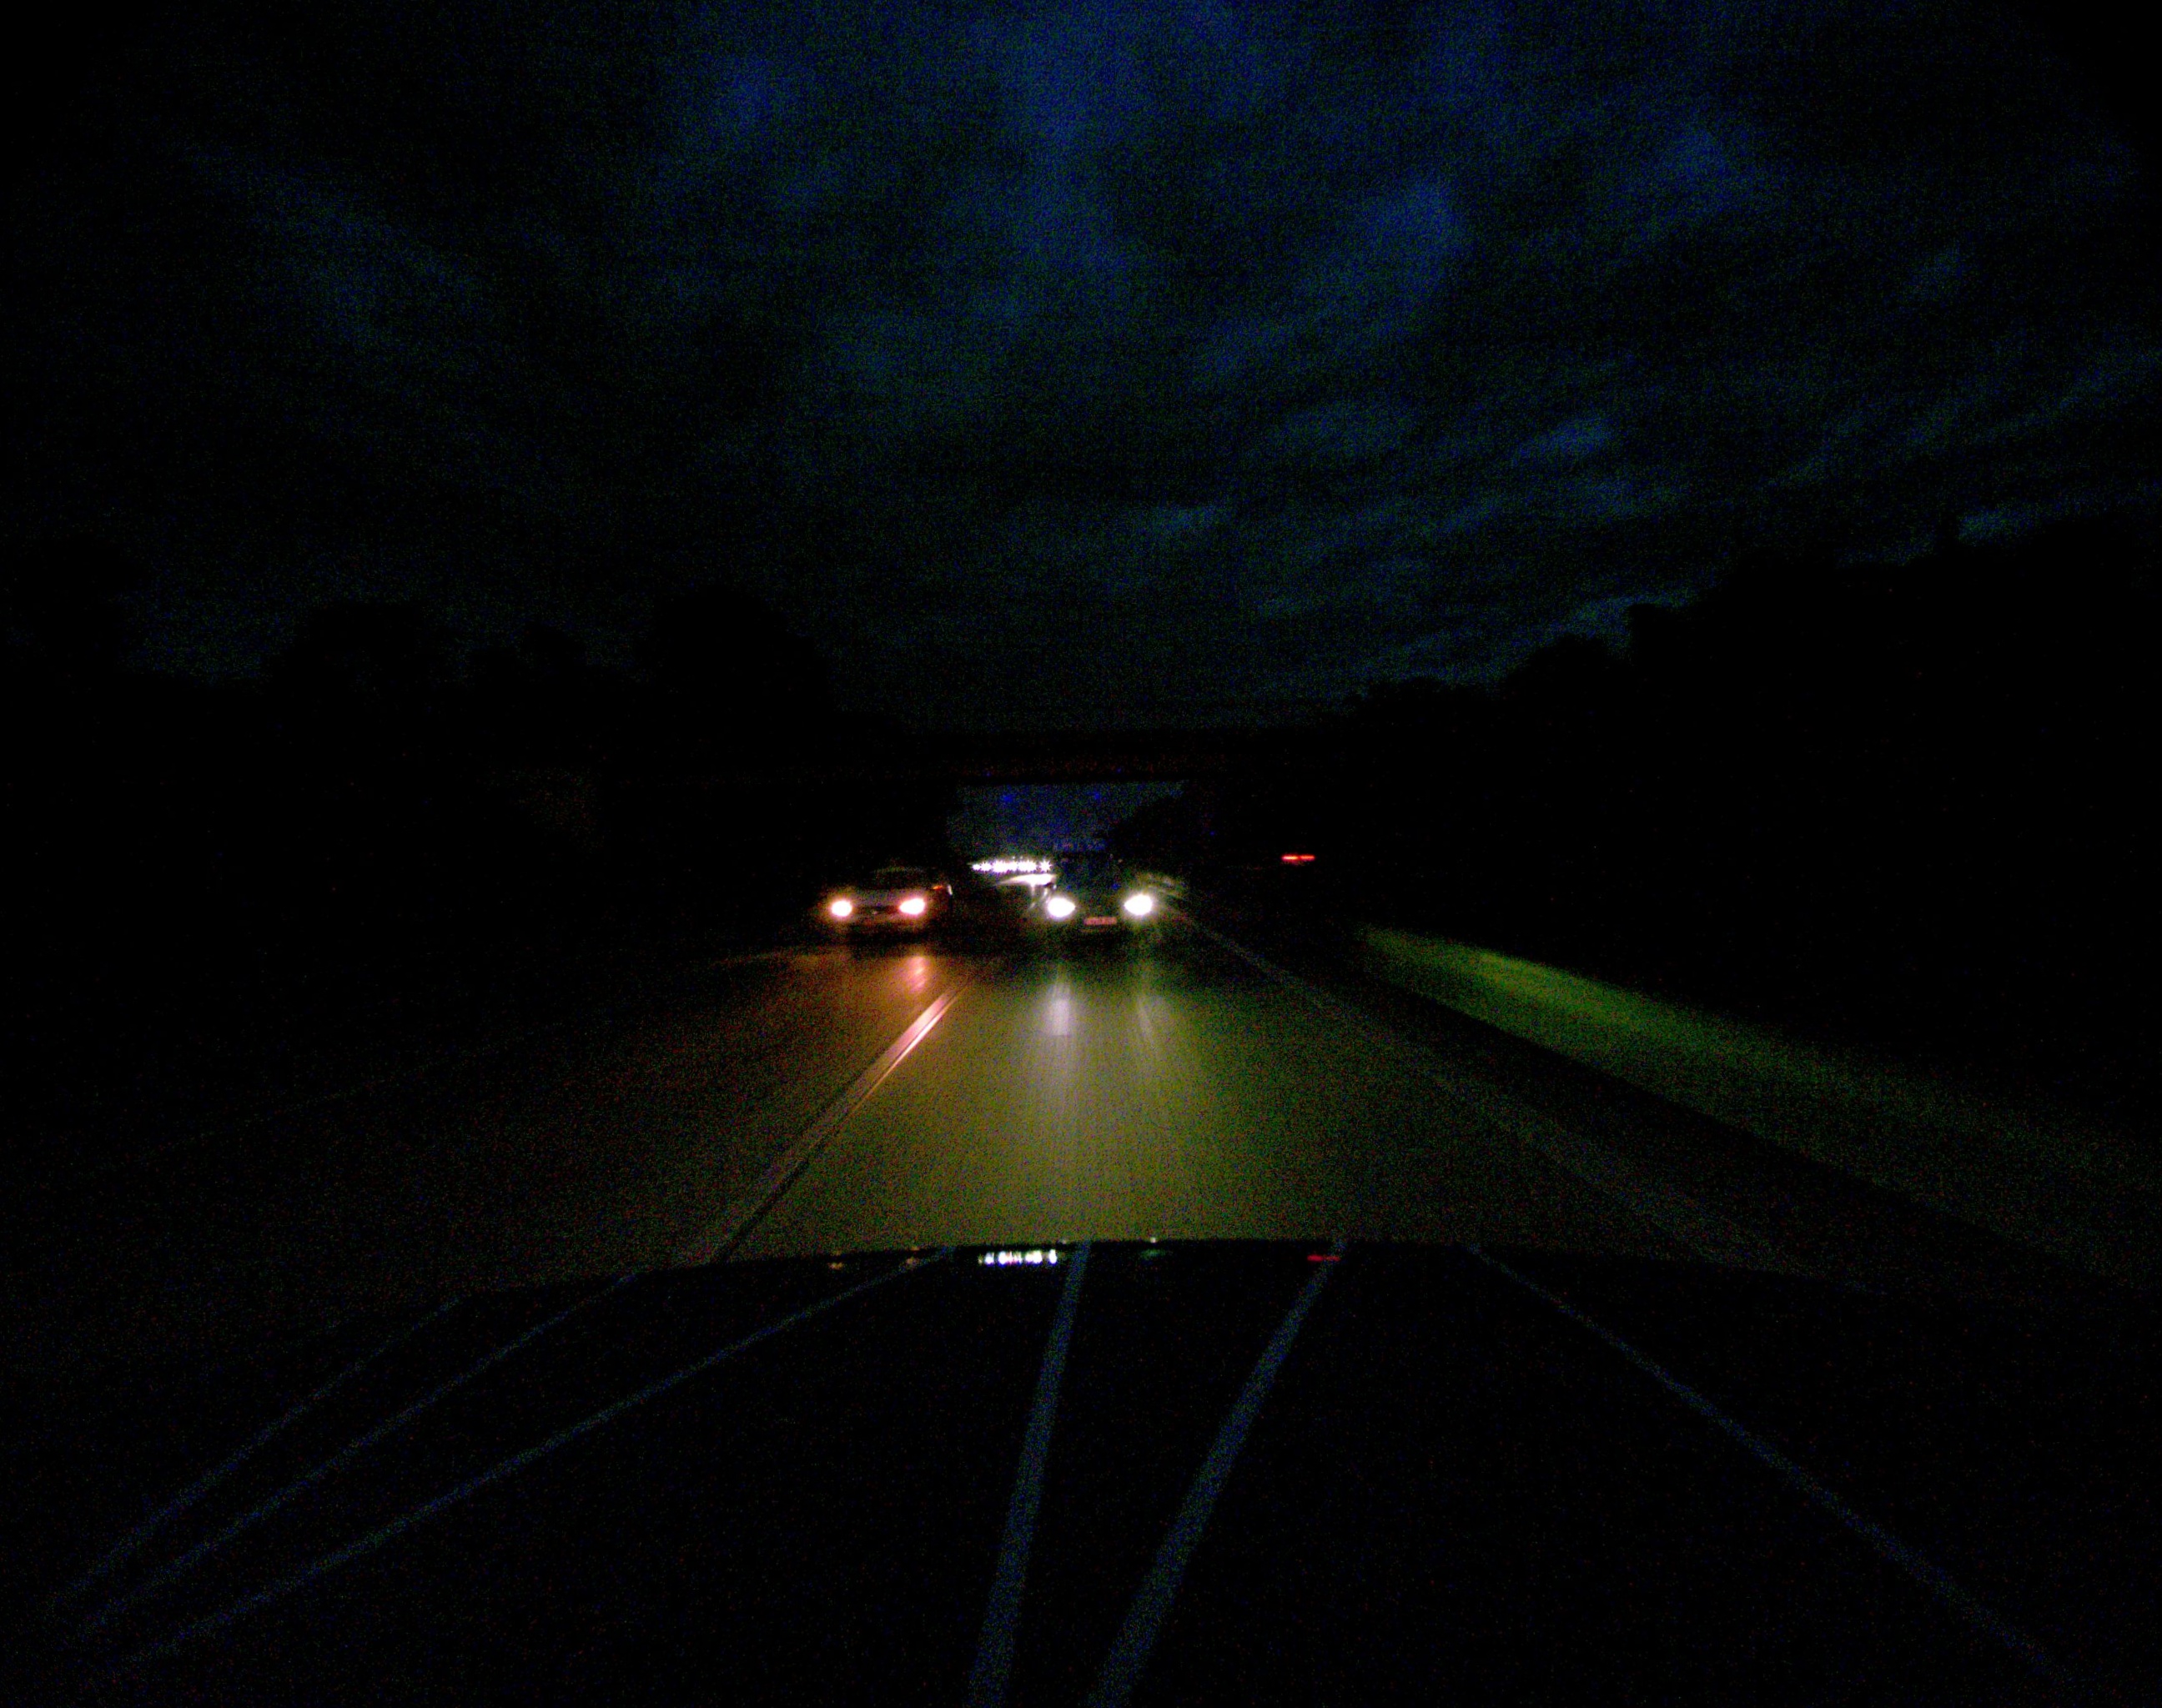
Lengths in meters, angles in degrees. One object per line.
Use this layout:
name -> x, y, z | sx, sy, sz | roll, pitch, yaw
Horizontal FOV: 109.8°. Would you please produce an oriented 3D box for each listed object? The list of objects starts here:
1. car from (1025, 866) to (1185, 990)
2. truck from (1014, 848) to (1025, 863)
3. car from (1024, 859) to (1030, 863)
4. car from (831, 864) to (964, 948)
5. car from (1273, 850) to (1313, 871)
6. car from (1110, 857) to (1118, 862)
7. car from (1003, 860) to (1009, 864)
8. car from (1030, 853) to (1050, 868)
car -> 0.323, 0.921, 11.314 | 1.879, 1.435, 4.452 | -1, -1, 1
truck -> -17.602, 0.580, 217.402 | 3.146, 3.987, 10.541 | -2, -1, -5
car -> -17.338, 2.276, 244.745 | 1.820, 1.372, 4.197 | -2, 0, -4
car -> -3.978, 1.046, 17.392 | 1.814, 1.458, 5.130 | -1, 1, -1
car -> 16.516, 0.547, 59.330 | 1.815, 1.511, 4.430 | -1, -1, -1
car -> 10.420, 1.745, 242.137 | 1.820, 1.372, 4.906 | -2, 0, -4
car -> -24.045, 2.510, 242.722 | 1.820, 1.372, 4.042 | -2, 0, -4
car -> -4.398, 0.704, 81.404 | 1.999, 1.539, 4.000 | -1, -1, -3
